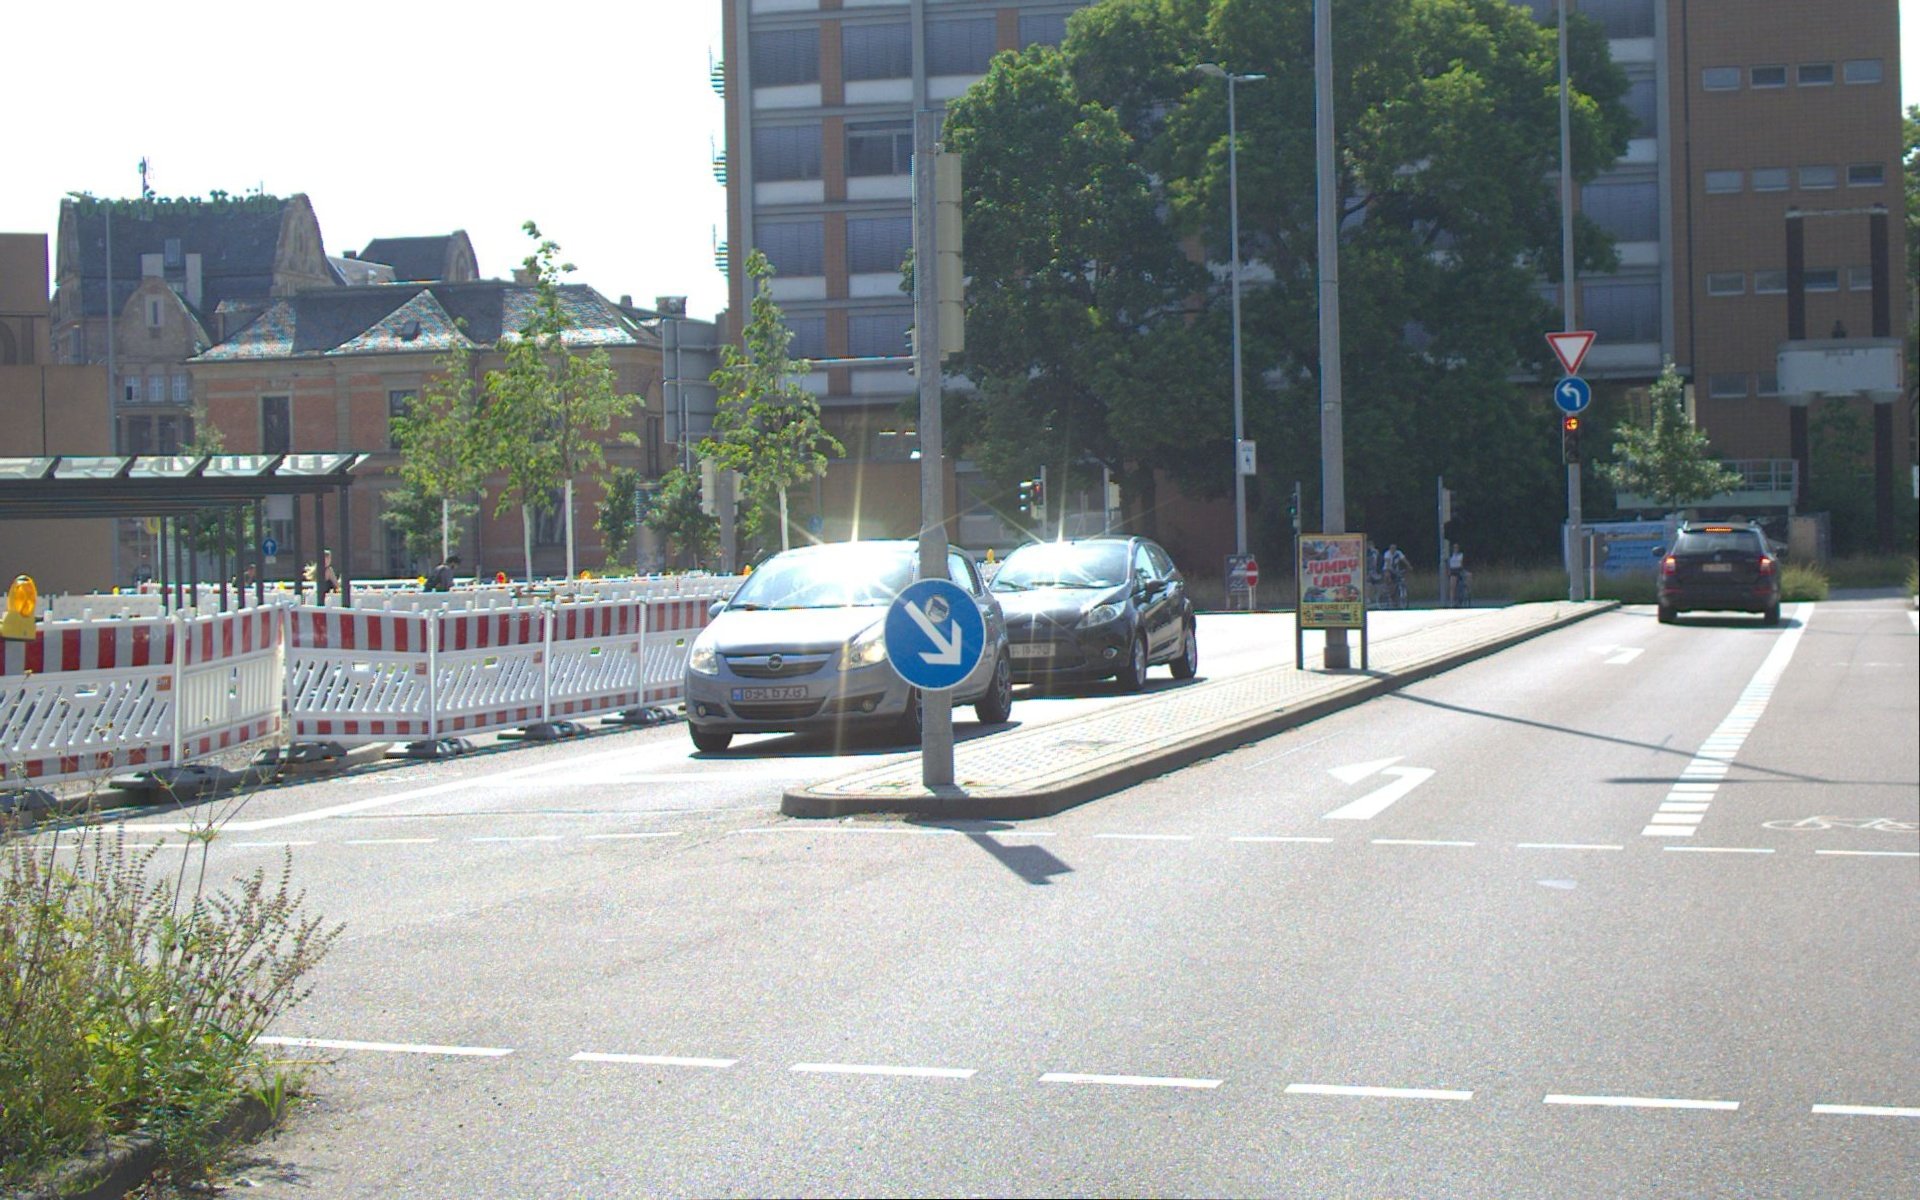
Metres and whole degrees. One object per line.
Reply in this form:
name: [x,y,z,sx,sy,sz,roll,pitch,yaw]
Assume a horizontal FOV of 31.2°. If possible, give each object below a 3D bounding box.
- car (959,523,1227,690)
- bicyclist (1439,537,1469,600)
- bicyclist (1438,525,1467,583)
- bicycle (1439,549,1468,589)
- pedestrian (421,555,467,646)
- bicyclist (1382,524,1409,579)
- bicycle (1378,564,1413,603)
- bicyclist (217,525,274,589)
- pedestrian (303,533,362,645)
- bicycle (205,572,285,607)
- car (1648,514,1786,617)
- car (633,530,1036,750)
car: [1.311,0.024,32.275,1.667,1.446,3.815,-1,1,15]
bicyclist: [12.690,-0.806,88.322,0.619,1.576,1.013,-4,0,10]
bicyclist: [12.666,-1.177,88.320,0.619,1.438,0.920,-4,0,10]
bicycle: [12.689,-0.806,88.322,0.619,0.957,1.967,-4,0,10]
pedestrian: [-8.619,0.007,57.430,0.630,1.486,0.617,-2,1,-1]
bicyclist: [11.460,-1.267,90.499,0.539,1.412,1.029,-2,0,13]
bicycle: [11.501,-0.431,90.797,0.704,0.974,2.030,-2,1,13]
bicyclist: [-16.801,-1.008,80.821,1.167,1.469,0.563,-1,1,27]
pedestrian: [-10.126,-0.168,55.499,0.736,1.746,1.111,-2,-1,-1]
bicycle: [-16.809,-0.249,80.829,1.893,0.790,0.559,-1,2,28]
car: [11.150,-0.532,50.513,1.781,1.438,3.815,1,1,15]
car: [-0.826,0.240,25.338,1.795,1.407,3.997,-3,1,15]
